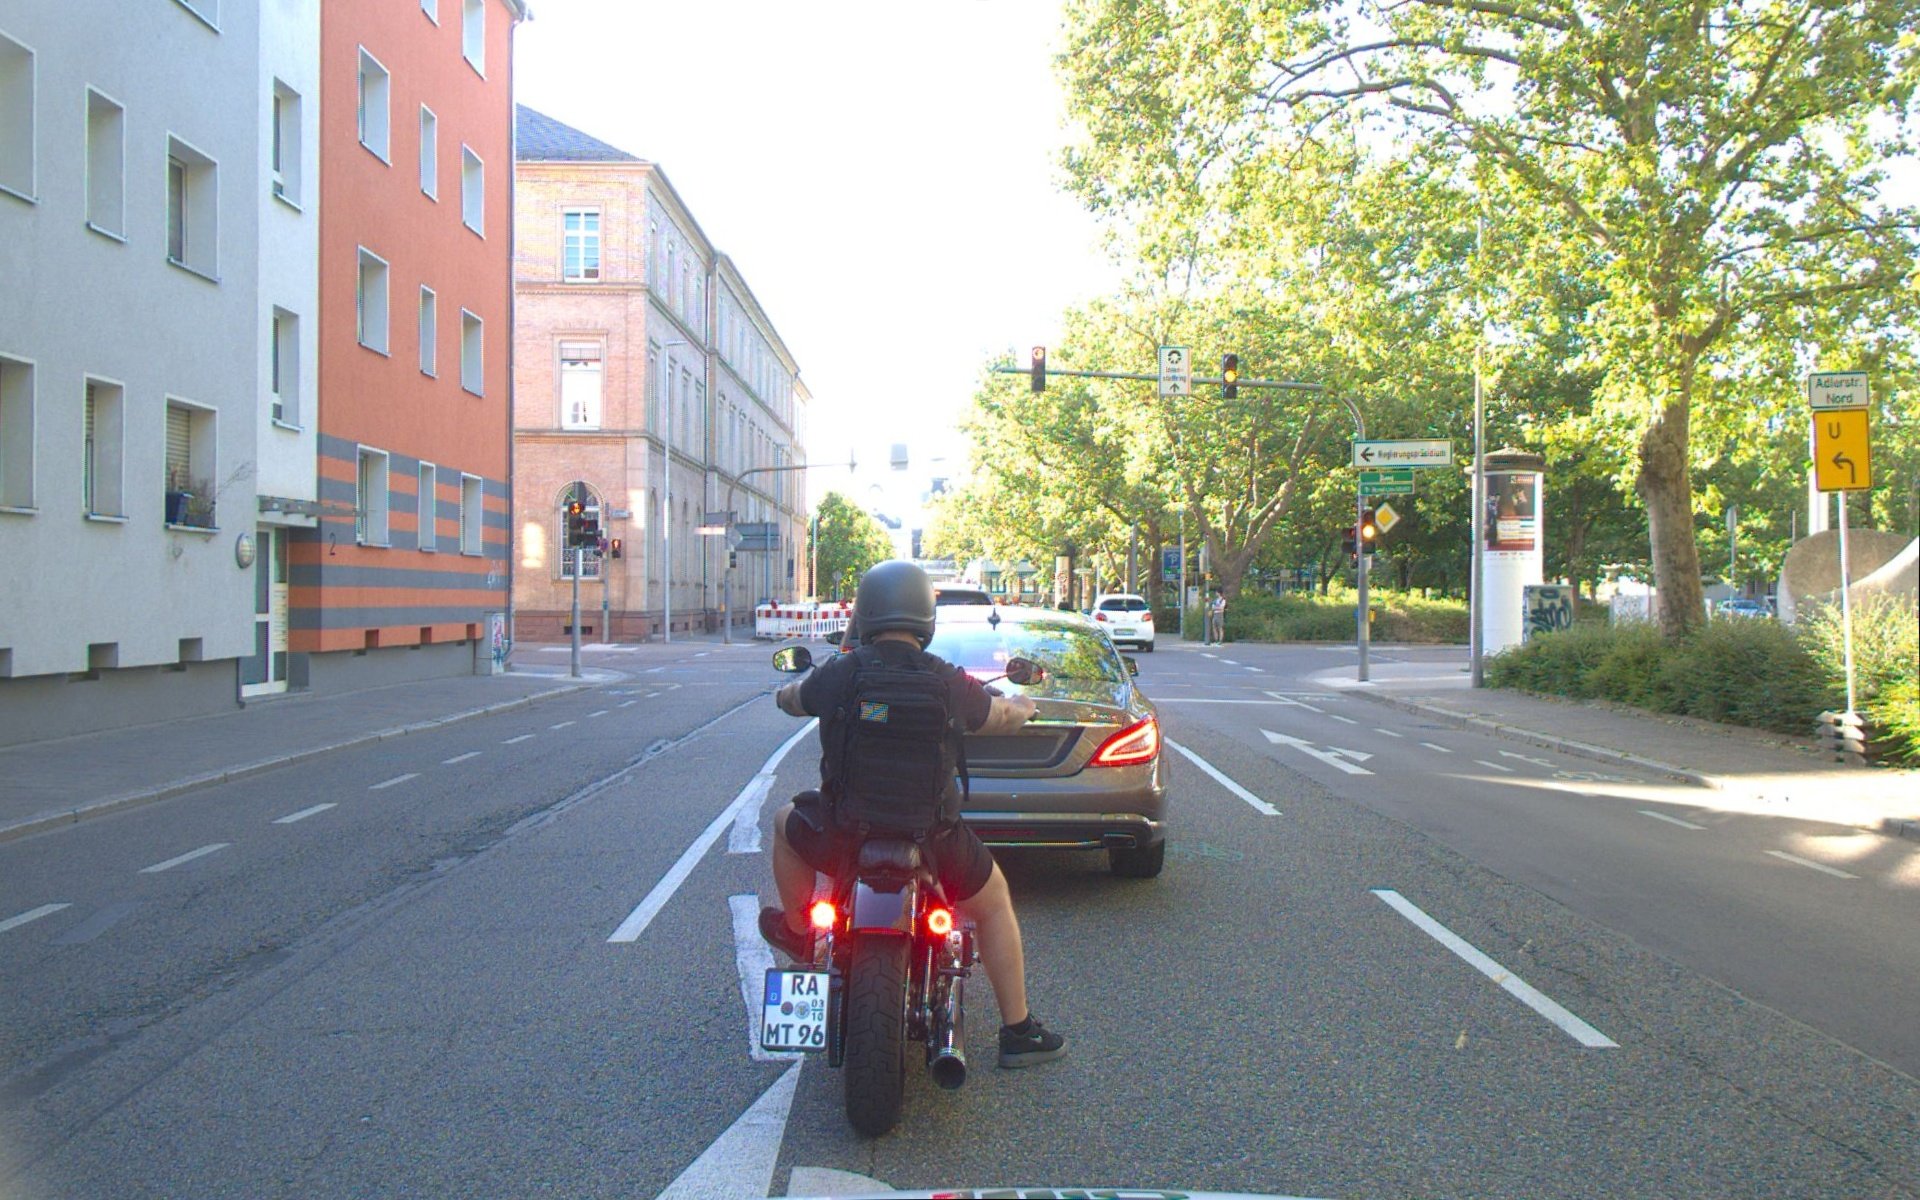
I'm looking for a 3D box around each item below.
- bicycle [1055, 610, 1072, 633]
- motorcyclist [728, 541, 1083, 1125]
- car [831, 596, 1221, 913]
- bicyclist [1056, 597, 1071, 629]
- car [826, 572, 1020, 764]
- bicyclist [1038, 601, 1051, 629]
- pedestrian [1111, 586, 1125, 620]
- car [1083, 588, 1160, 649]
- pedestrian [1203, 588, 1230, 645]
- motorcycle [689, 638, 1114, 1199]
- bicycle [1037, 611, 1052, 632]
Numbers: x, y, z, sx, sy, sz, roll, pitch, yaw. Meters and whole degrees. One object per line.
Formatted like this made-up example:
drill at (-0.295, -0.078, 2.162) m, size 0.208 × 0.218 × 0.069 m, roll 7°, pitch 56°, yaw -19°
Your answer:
bicycle at (5.104, 1.058, 81.776) m, size 0.643 × 1.089 × 1.926 m, roll 2°, pitch 0°, yaw -2°
motorcyclist at (-0.162, 0.648, 5.335) m, size 0.991 × 1.630 × 1.406 m, roll 0°, pitch 0°, yaw -1°
car at (0.276, 0.711, 9.564) m, size 1.791 × 1.445 × 3.814 m, roll 1°, pitch 0°, yaw -1°
bicyclist at (5.112, 0.653, 81.794) m, size 0.643 × 1.557 × 0.852 m, roll 2°, pitch -1°, yaw -1°
car at (-0.479, 0.618, 16.707) m, size 1.599 × 1.679 × 3.845 m, roll 2°, pitch 0°, yaw -6°
bicyclist at (4.719, 0.832, 92.126) m, size 0.643 × 1.557 × 0.906 m, roll 2°, pitch -1°, yaw -1°
pedestrian at (7.552, 0.129, 79.182) m, size 0.580 × 1.606 × 0.527 m, roll 2°, pitch -1°, yaw -1°
car at (4.279, 0.482, 44.317) m, size 1.645 × 1.524 × 3.685 m, roll 2°, pitch 0°, yaw 0°
pedestrian at (8.275, 0.533, 53.311) m, size 0.566 × 1.805 × 0.618 m, roll 2°, pitch -1°, yaw -35°
motorcycle at (-0.157, 0.820, 5.201) m, size 0.991 × 1.329 × 2.672 m, roll 0°, pitch 0°, yaw -1°
bicycle at (4.717, 1.163, 92.152) m, size 0.643 × 1.131 × 2.185 m, roll 2°, pitch 0°, yaw -1°
